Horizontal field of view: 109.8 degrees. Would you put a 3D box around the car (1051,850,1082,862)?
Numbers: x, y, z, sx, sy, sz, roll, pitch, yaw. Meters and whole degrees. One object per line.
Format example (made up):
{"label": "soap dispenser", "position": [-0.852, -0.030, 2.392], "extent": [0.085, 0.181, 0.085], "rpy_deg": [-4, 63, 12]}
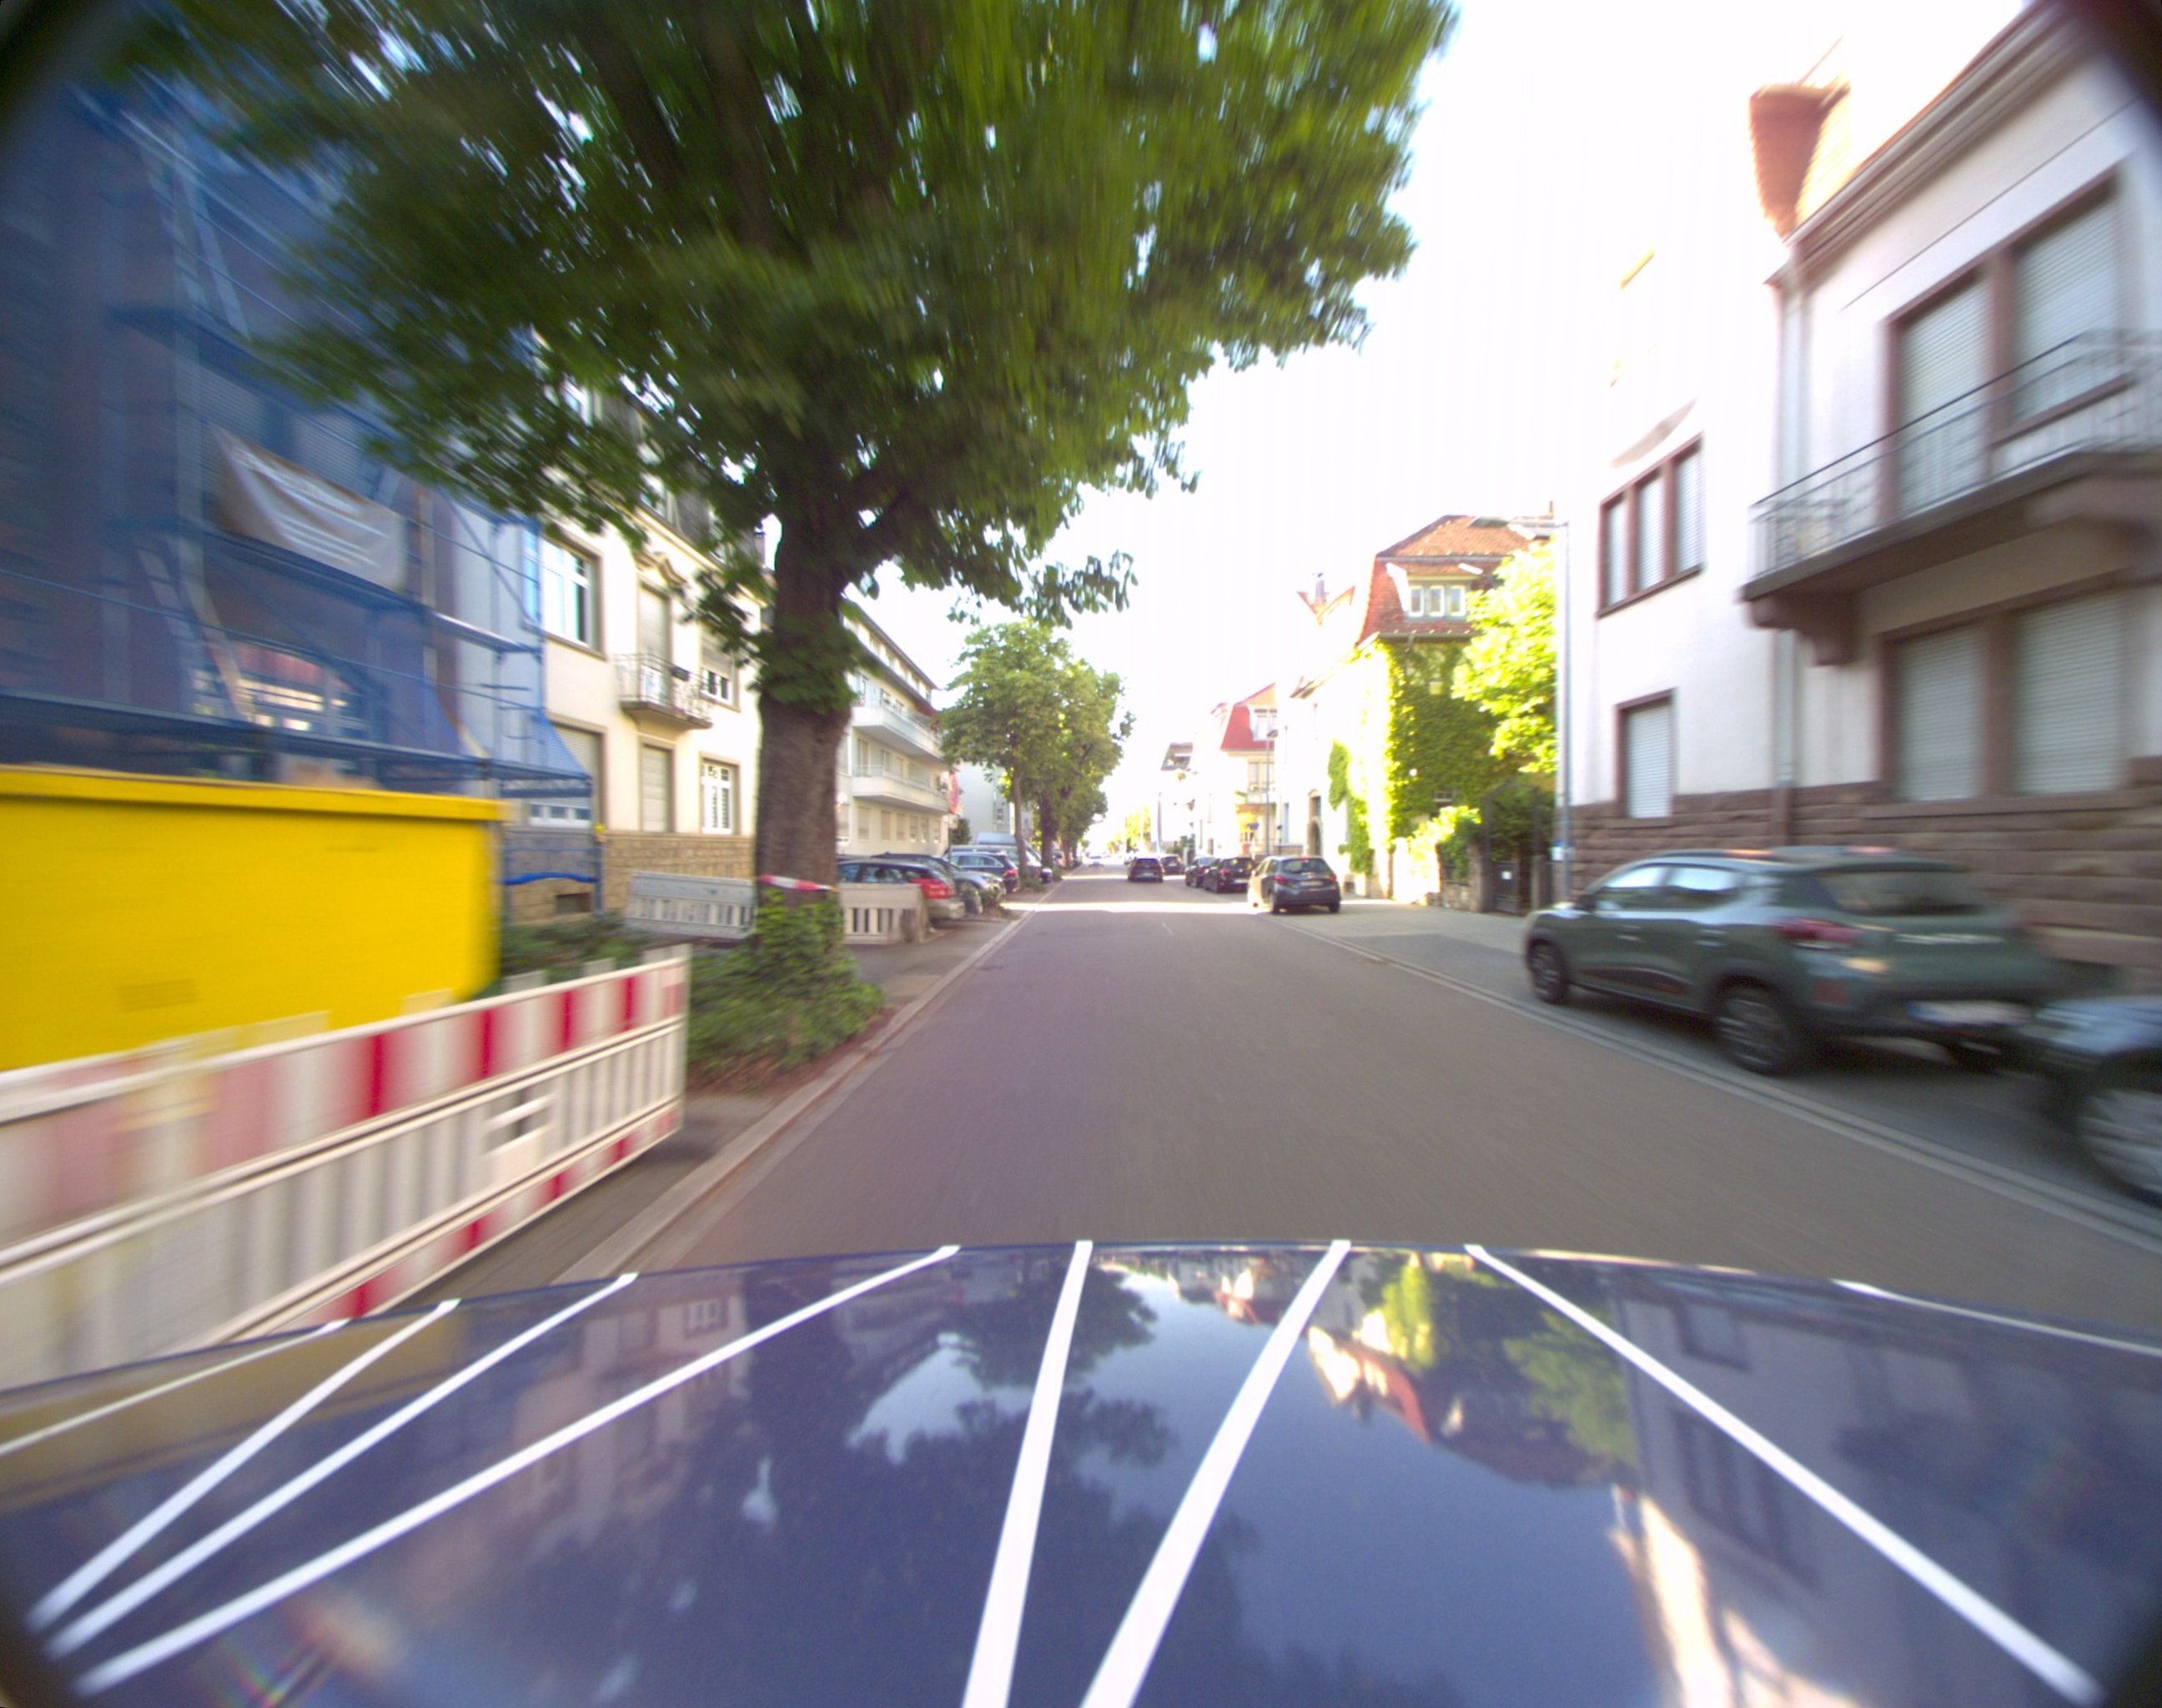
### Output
{"label": "car", "position": [-1.782, 0.200, 93.601], "extent": [3.680, 1.434, 1.601], "rpy_deg": [0, 0, 1]}

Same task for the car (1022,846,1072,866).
{"label": "car", "position": [-3.365, 0.214, 76.358], "extent": [4.819, 1.925, 1.950], "rpy_deg": [0, 1, 2]}

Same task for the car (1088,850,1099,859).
{"label": "car", "position": [2.448, 0.107, 145.134], "extent": [1.913, 1.679, 4.198], "rpy_deg": [-2, 0, 2]}

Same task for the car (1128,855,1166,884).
{"label": "car", "position": [3.568, 0.813, 41.617], "extent": [1.776, 1.440, 4.000], "rpy_deg": [0, 0, 1]}

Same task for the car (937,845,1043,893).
{"label": "car", "position": [-3.966, 0.636, 33.667], "extent": [4.481, 2.002, 1.896], "rpy_deg": [-1, 1, -1]}

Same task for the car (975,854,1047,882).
{"label": "car", "position": [-3.782, 0.742, 41.560], "extent": [3.730, 1.423, 1.758], "rpy_deg": [0, 2, 0]}

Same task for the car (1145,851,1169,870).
{"label": "car", "position": [6.381, 0.525, 64.223], "extent": [1.585, 1.511, 3.706], "rpy_deg": [-2, 0, 0]}

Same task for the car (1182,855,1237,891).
{"label": "car", "position": [5.940, 0.828, 35.633], "extent": [1.713, 1.461, 4.633], "rpy_deg": [-2, 0, -1]}

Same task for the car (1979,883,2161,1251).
{"label": "car", "position": [5.222, 0.876, 1.779], "extent": [1.658, 1.438, 3.843], "rpy_deg": [-2, 0, -1]}

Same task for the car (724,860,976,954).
{"label": "car", "position": [-4.098, 0.910, 13.898], "extent": [3.996, 1.483, 1.851], "rpy_deg": [1, 1, 3]}

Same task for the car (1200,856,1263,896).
{"label": "car", "position": [5.919, 0.824, 30.271], "extent": [1.657, 1.407, 4.167], "rpy_deg": [-2, 0, 0]}

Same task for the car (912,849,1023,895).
{"label": "car", "position": [-4.325, 0.688, 29.321], "extent": [3.958, 1.673, 1.706], "rpy_deg": [1, 0, 4]}

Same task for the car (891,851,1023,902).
{"label": "car", "position": [-4.275, 0.769, 26.641], "extent": [4.343, 1.673, 1.705], "rpy_deg": [1, 0, -2]}

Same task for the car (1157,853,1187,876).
{"label": "car", "position": [6.431, 0.706, 53.891], "extent": [1.657, 1.446, 4.631], "rpy_deg": [-2, 0, 1]}

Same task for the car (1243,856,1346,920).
{"label": "car", "position": [5.543, 0.822, 20.228], "extent": [1.657, 1.438, 4.005], "rpy_deg": [-2, 0, 1]}

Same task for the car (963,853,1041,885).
{"label": "car", "position": [-3.994, 0.735, 38.661], "extent": [3.729, 1.545, 1.639], "rpy_deg": [0, 1, 2]}

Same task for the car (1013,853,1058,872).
{"label": "car", "position": [-3.571, 0.650, 60.316], "extent": [3.411, 1.419, 1.759], "rpy_deg": [1, 1, 1]}

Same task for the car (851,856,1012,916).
{"label": "car", "position": [-4.147, 0.861, 21.535], "extent": [4.166, 1.530, 1.851], "rpy_deg": [1, 1, 1]}

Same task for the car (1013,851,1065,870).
{"label": "car", "position": [-3.477, 0.516, 63.248], "extent": [4.312, 1.532, 1.758], "rpy_deg": [0, 1, -2]}

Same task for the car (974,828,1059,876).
{"label": "car", "position": [-3.923, -0.106, 46.821], "extent": [5.108, 2.885, 2.075], "rpy_deg": [0, 1, -1]}

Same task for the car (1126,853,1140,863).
{"label": "car", "position": [7.294, 0.559, 106.676], "extent": [1.723, 1.386, 3.908], "rpy_deg": [-2, 0, 2]}

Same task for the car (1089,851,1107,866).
{"label": "car", "position": [2.120, 0.487, 93.239], "extent": [2.098, 1.701, 4.606], "rpy_deg": [-1, 1, 2]}

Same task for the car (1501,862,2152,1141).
{"label": "car", "position": [5.274, 0.863, 6.200], "extent": [1.657, 1.477, 3.764], "rpy_deg": [-2, 0, 1]}

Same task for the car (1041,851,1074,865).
{"label": "car", "position": [-2.620, 0.469, 85.201], "extent": [3.680, 1.488, 1.676], "rpy_deg": [0, 0, 1]}

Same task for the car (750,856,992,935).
{"label": "car", "position": [-4.458, 0.849, 16.613], "extent": [4.729, 1.526, 1.851], "rpy_deg": [1, 1, 1]}

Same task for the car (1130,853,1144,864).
{"label": "car", "position": [7.411, 0.601, 101.460], "extent": [1.723, 1.386, 3.908], "rpy_deg": [-2, 0, 2]}

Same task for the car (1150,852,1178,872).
{"label": "car", "position": [6.498, 0.603, 59.528], "extent": [1.586, 1.468, 3.705], "rpy_deg": [-2, 0, -3]}

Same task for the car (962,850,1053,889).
{"label": "car", "position": [-3.508, 0.711, 36.156], "extent": [4.188, 1.714, 1.764], "rpy_deg": [-1, 1, -6]}

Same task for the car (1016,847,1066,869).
{"label": "car", "position": [-3.443, 0.342, 66.020], "extent": [4.312, 1.874, 1.758], "rpy_deg": [0, 1, -2]}

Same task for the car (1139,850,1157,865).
{"label": "car", "position": [6.979, 0.351, 78.903], "extent": [1.654, 1.474, 3.429], "rpy_deg": [-2, 0, 3]}
